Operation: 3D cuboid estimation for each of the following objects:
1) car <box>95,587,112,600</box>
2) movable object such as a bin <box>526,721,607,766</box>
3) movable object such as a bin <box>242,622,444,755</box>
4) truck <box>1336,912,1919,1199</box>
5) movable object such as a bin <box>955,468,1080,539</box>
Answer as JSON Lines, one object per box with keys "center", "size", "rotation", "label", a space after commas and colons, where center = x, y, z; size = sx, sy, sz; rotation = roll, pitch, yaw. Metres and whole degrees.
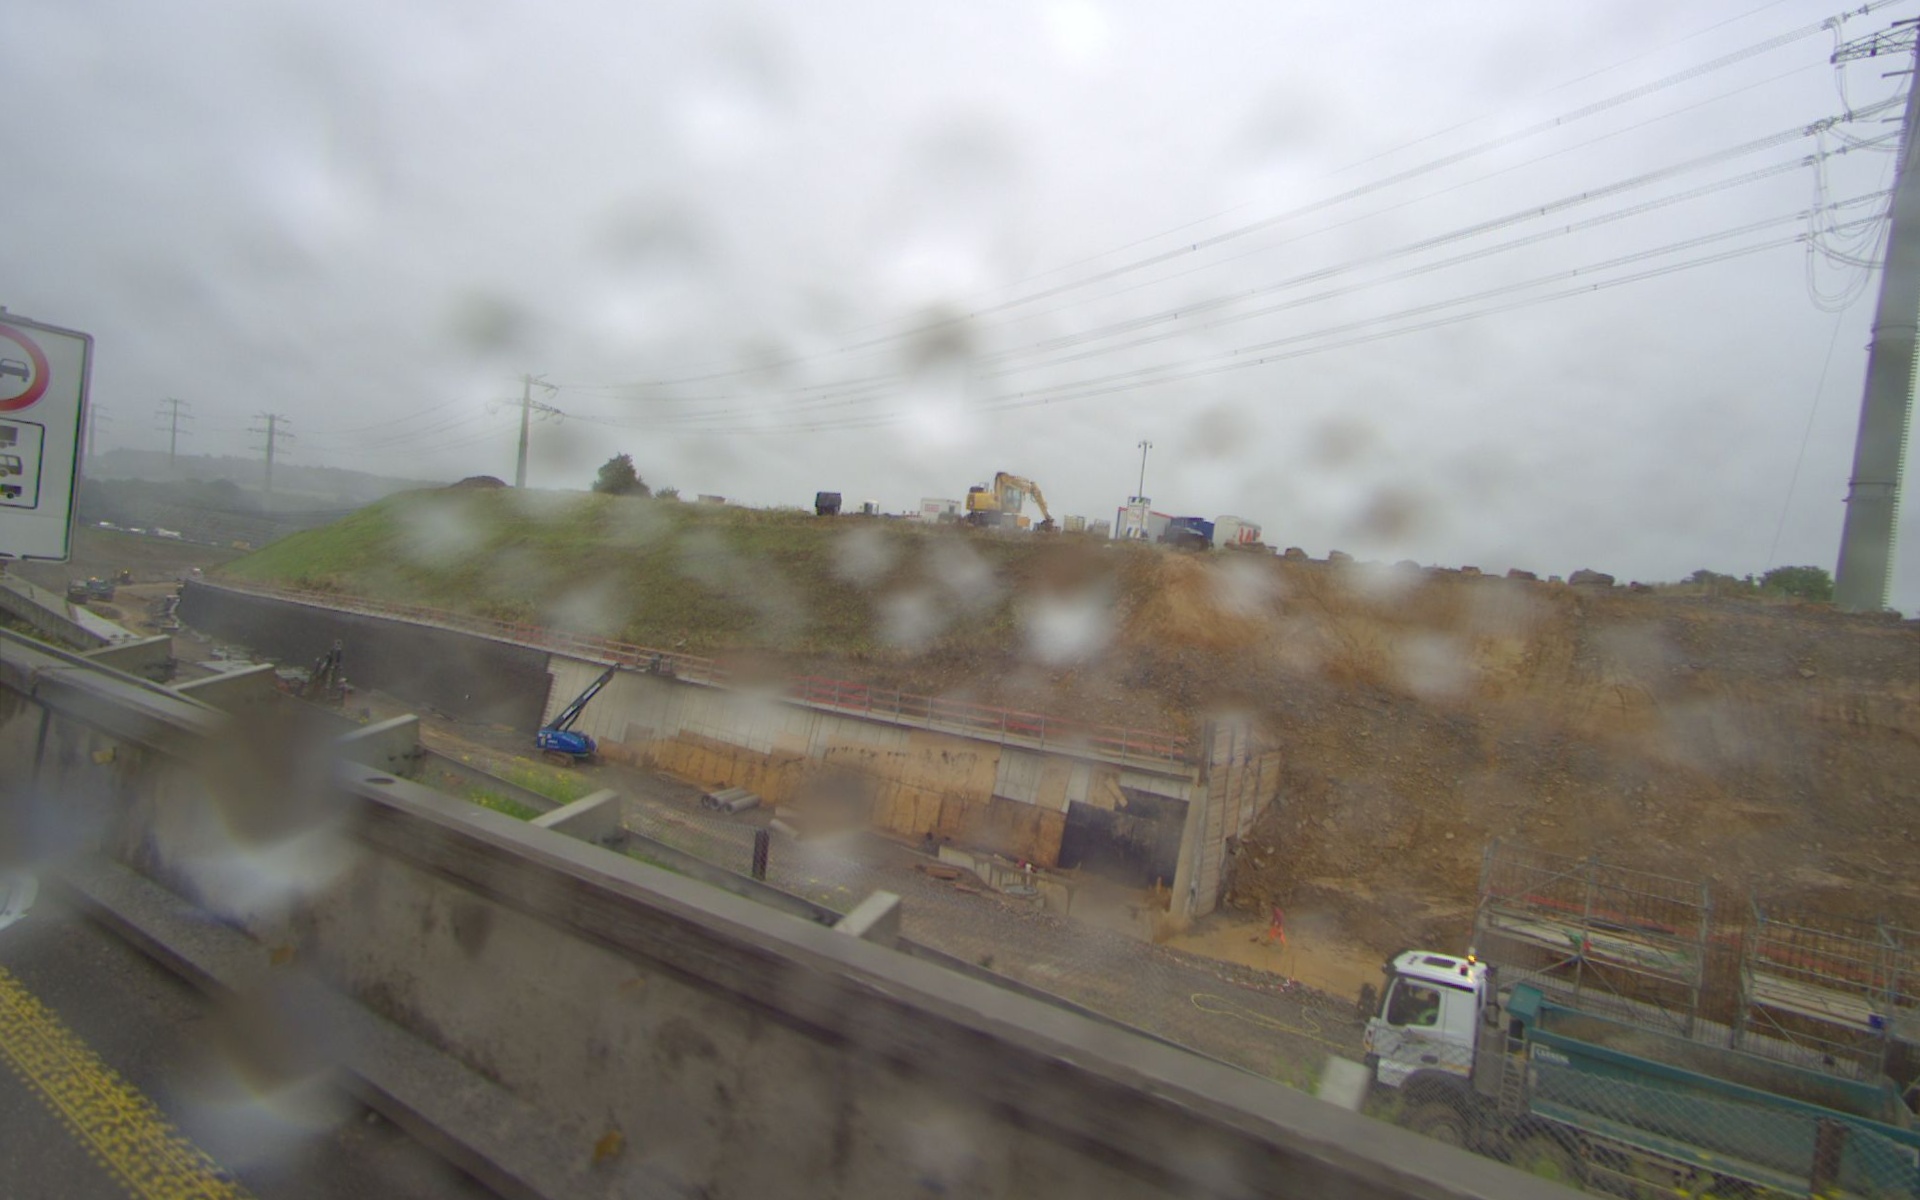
{"center": [-150.656, -1.076, 176.926], "size": [1.988, 1.837, 3.952], "rotation": [8, -2, -43], "label": "car"}
{"center": [-21.569, 7.868, 55.155], "size": [3.204, 1.932, 2.522], "rotation": [6, -3, 33], "label": "movable object such as a bin"}
{"center": [-33.053, 4.586, 53.602], "size": [11.918, 5.731, 4.896], "rotation": [3, -5, 38], "label": "movable object such as a bin"}
{"center": [12.030, 8.941, 18.543], "size": [8.933, 3.658, 2.702], "rotation": [5, 1, 35], "label": "truck"}
{"center": [3.933, -6.788, 70.168], "size": [8.059, 4.259, 3.096], "rotation": [6, 1, 39], "label": "movable object such as a bin"}
